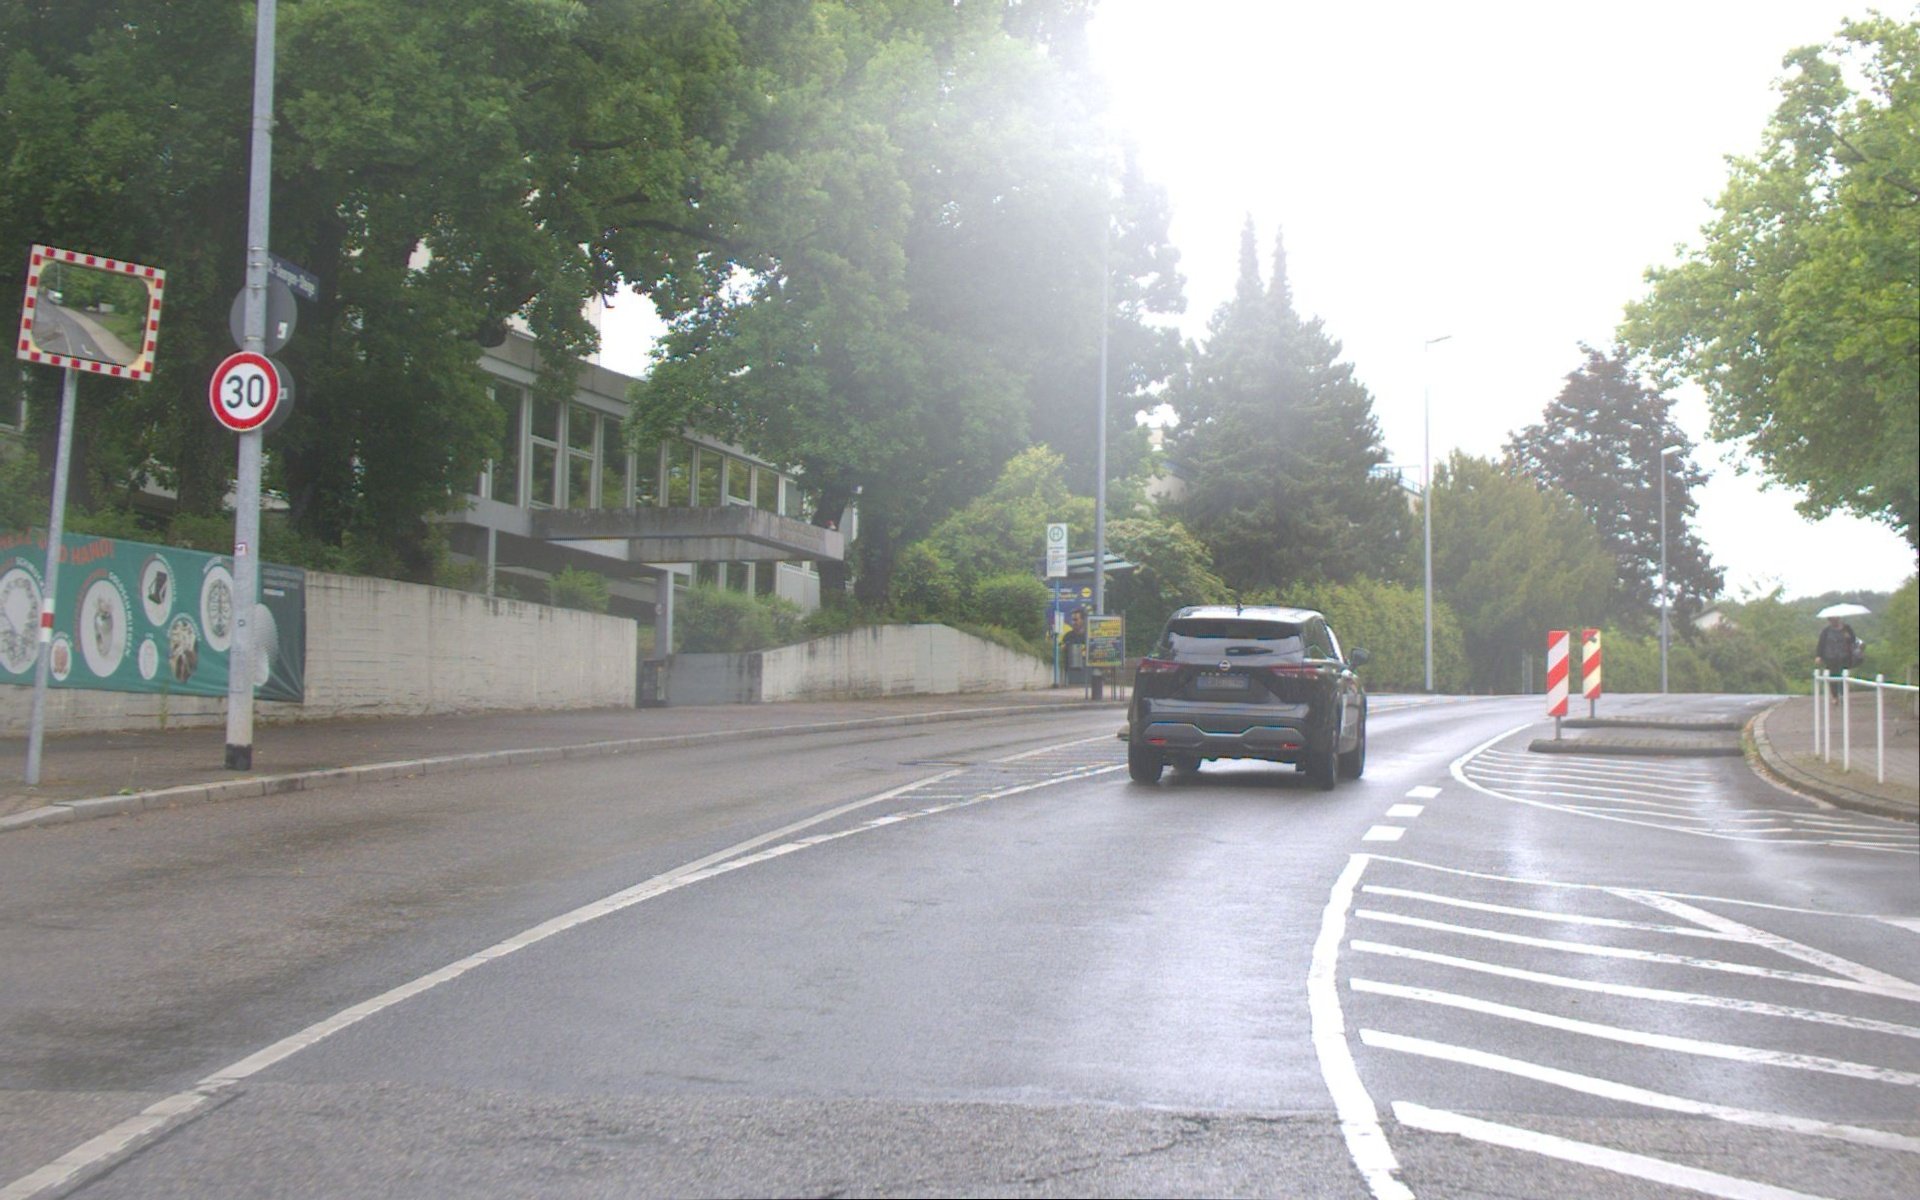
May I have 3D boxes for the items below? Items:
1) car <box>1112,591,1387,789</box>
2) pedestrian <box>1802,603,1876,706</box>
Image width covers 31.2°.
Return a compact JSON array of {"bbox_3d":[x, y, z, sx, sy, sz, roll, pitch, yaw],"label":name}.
[{"bbox_3d":[2.723,0.772,31.532,1.929,1.607,3.998,2,0,13],"label":"car"},{"bbox_3d":[14.977,0.925,58.593,1.084,1.716,1.165,-2,-1,10],"label":"pedestrian"}]
